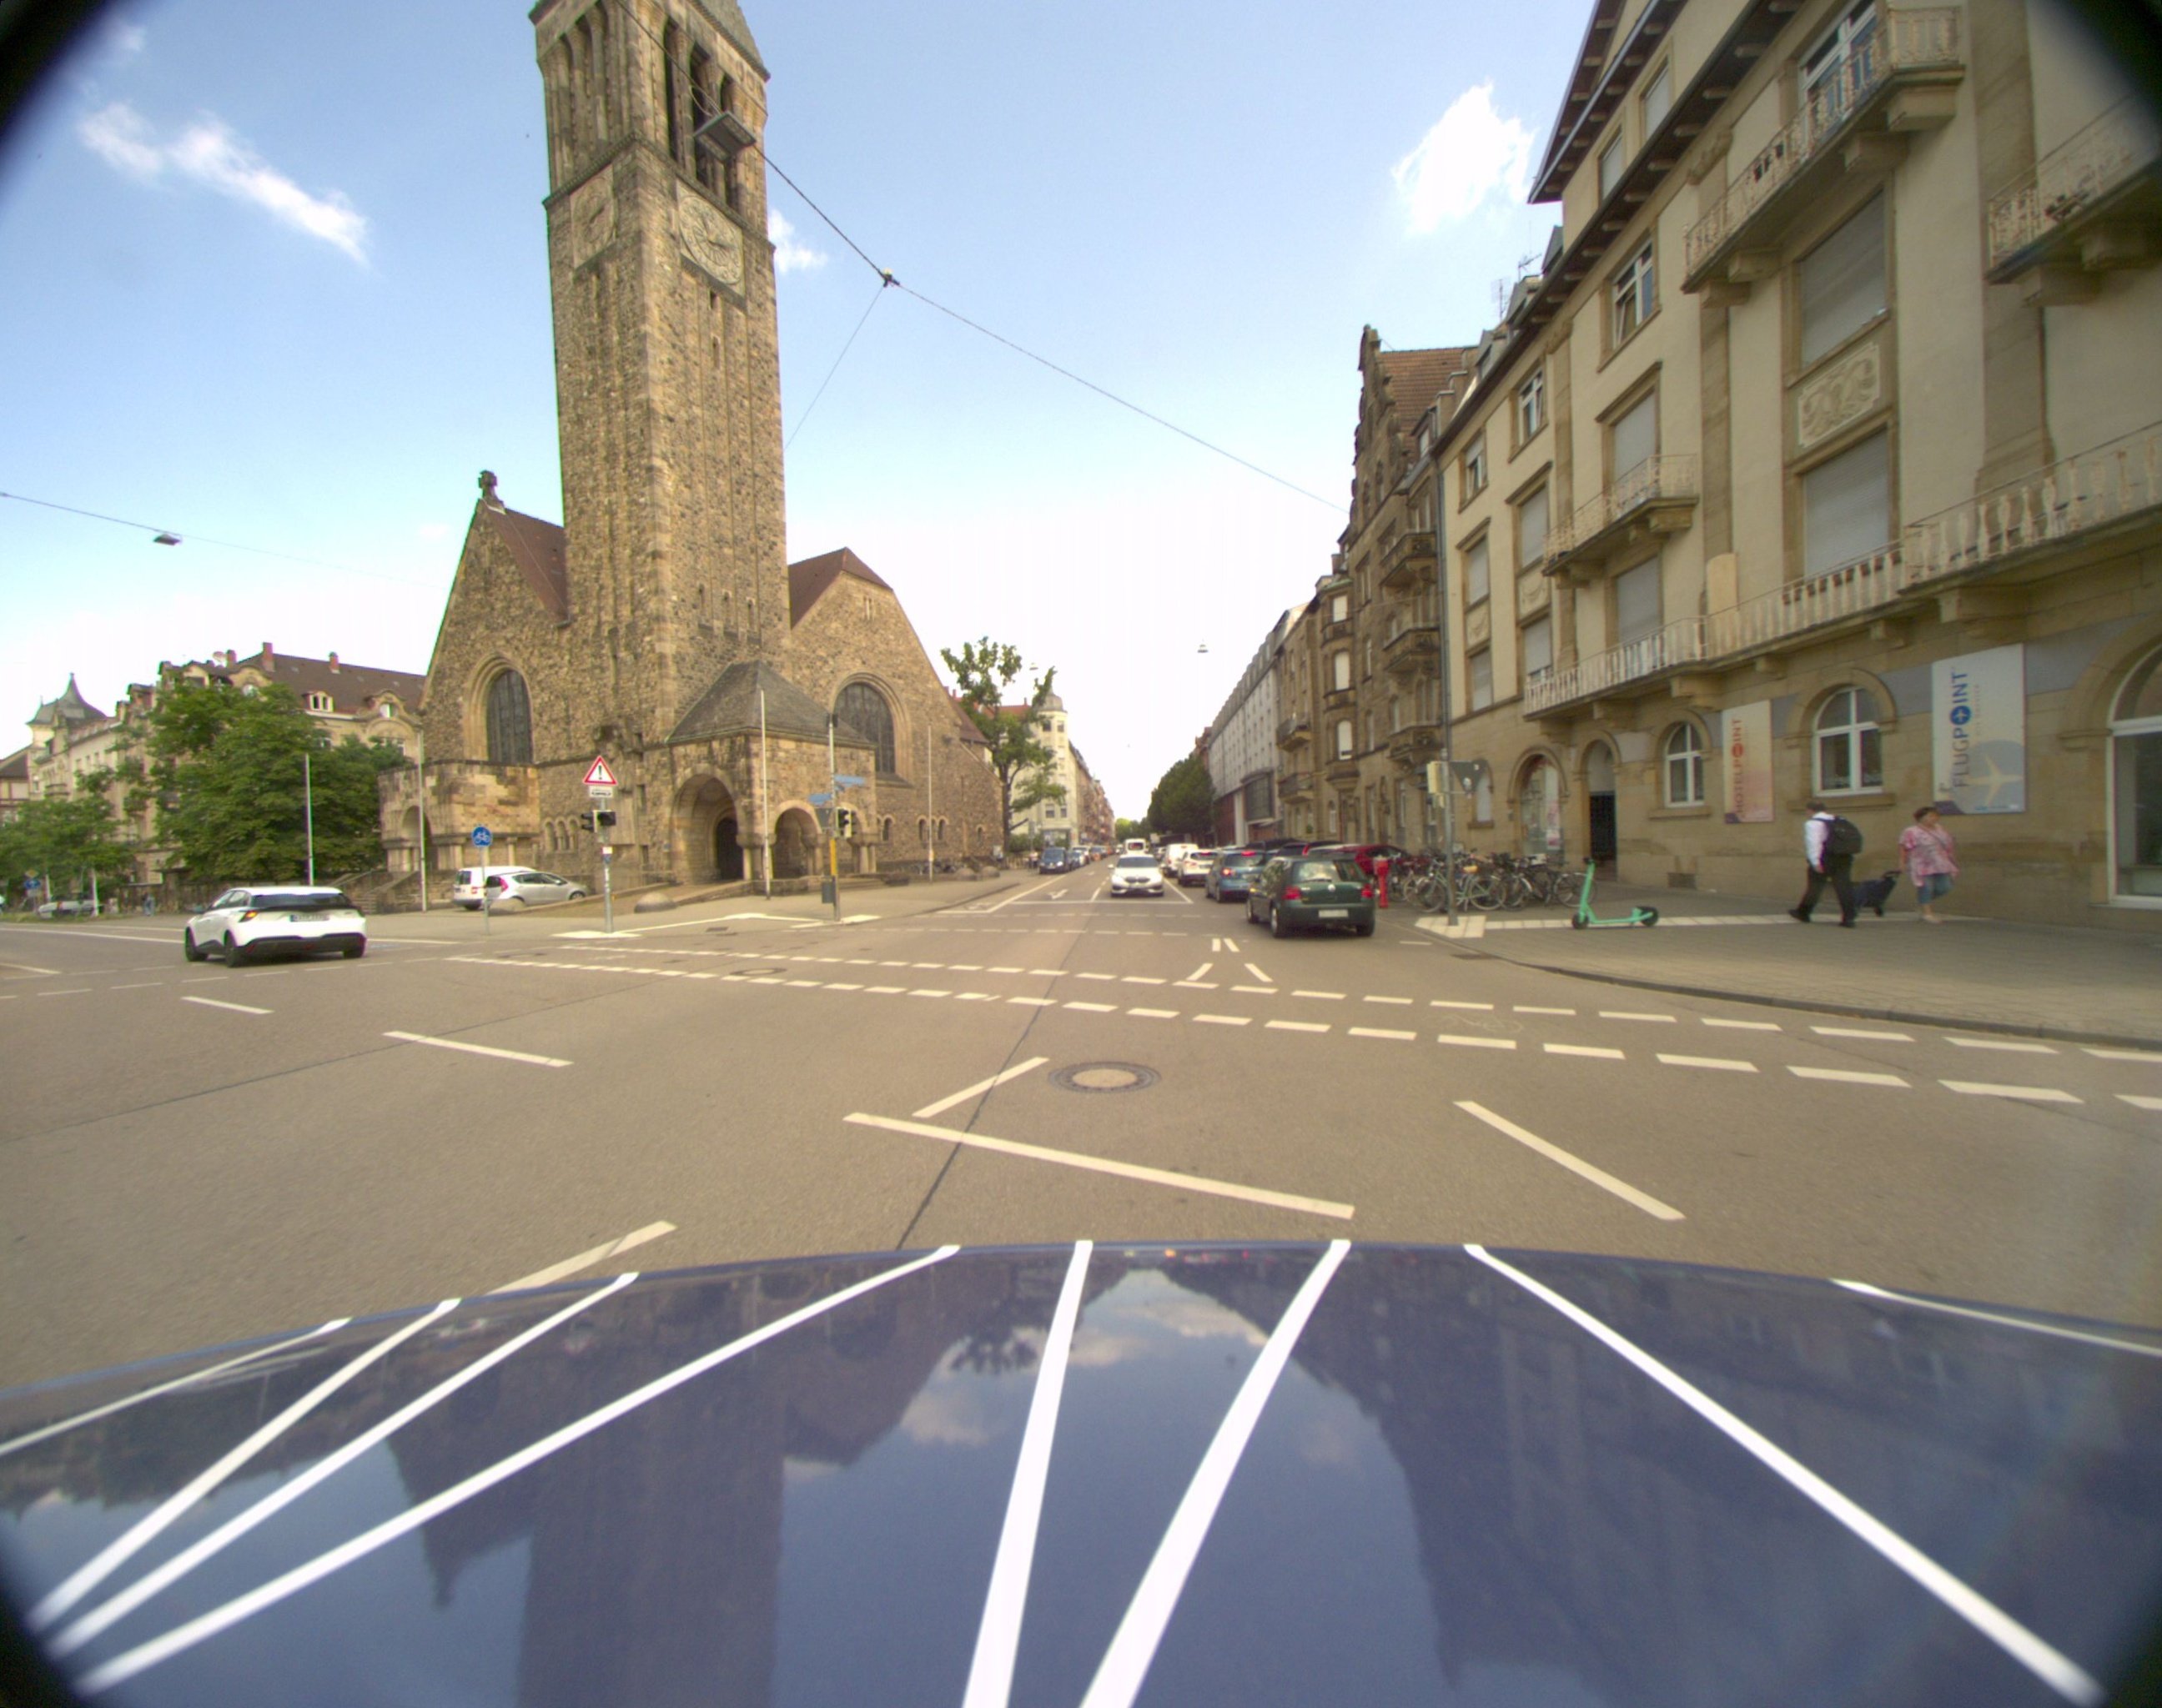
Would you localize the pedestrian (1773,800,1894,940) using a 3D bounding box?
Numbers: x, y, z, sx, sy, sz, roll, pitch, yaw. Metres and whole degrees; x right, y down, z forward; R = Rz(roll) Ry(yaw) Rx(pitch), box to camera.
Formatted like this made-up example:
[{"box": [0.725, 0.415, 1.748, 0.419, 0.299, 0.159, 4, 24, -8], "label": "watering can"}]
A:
[{"box": [10.526, 0.200, 10.670, 0.804, 1.850, 0.905, -3, 4, 4], "label": "pedestrian"}]

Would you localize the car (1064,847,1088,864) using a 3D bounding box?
[{"box": [-0.420, 0.130, 68.736, 1.682, 1.438, 3.799, -2, 1, 5], "label": "car"}]

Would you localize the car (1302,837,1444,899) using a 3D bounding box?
[{"box": [8.644, 0.401, 22.411, 4.005, 1.448, 1.808, -5, 0, -33], "label": "car"}]

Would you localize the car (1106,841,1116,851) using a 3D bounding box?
[{"box": [6.074, -1.620, 153.510, 1.809, 1.901, 4.187, -2, 1, 5], "label": "car"}]

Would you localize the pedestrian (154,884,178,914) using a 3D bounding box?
[{"box": [-50.884, 2.496, 42.241, 0.843, 1.655, 0.660, -2, 1, 31], "label": "pedestrian"}]

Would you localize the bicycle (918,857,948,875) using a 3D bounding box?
[{"box": [-9.526, 0.775, 48.947, 1.934, 1.106, 0.587, 1, 3, 25], "label": "bicycle"}]

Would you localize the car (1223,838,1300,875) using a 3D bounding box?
[{"box": [9.818, 0.141, 41.170, 3.960, 1.576, 1.727, -6, 2, -35], "label": "car"}]

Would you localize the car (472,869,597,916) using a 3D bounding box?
[{"box": [-22.239, 1.541, 31.063, 1.814, 1.668, 3.644, -3, -1, 26], "label": "car"}]

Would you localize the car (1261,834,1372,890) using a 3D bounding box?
[{"box": [8.835, 0.295, 28.396, 3.960, 1.679, 1.799, -5, 0, -35], "label": "car"}]

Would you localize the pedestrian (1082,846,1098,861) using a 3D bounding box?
[{"box": [1.039, -0.076, 89.052, 1.316, 1.747, 1.370, -3, 1, -38], "label": "pedestrian"}]

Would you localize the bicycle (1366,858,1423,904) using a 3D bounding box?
[{"box": [8.136, 0.683, 19.674, 1.815, 1.046, 0.556, -5, 1, -41], "label": "bicycle"}]

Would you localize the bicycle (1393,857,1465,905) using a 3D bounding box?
[{"box": [8.553, 0.659, 18.712, 1.483, 1.046, 0.462, -4, 1, 1], "label": "bicycle"}]

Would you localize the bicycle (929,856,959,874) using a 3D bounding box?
[{"box": [-8.950, 0.737, 49.773, 1.934, 1.106, 0.587, 1, 3, 25], "label": "bicycle"}]

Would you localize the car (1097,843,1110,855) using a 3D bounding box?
[{"box": [3.631, -0.822, 124.334, 1.809, 1.756, 4.187, -2, 1, 5], "label": "car"}]

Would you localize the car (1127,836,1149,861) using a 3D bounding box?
[{"box": [5.827, -0.507, 78.185, 2.081, 2.430, 5.947, -1, 0, 3], "label": "car"}]

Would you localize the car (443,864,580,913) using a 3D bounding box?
[{"box": [-24.851, 1.469, 33.321, 1.995, 1.842, 4.313, -3, -1, 28], "label": "car"}]

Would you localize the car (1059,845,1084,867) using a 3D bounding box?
[{"box": [-0.754, 0.144, 63.951, 1.682, 1.781, 4.001, -2, 1, 5], "label": "car"}]

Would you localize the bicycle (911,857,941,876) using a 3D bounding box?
[{"box": [-9.850, 0.801, 48.306, 1.934, 1.106, 0.587, 1, 3, 25], "label": "bicycle"}]

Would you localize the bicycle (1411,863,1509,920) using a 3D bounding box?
[{"box": [7.838, 0.783, 15.783, 1.733, 1.046, 0.532, -4, 1, 20], "label": "bicycle"}]

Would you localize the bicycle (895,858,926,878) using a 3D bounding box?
[{"box": [-10.514, 0.856, 46.874, 1.934, 1.106, 0.587, 1, 3, 25], "label": "bicycle"}]

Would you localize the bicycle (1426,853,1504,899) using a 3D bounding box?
[{"box": [9.745, 0.554, 19.301, 1.630, 1.046, 0.558, -4, 1, 3], "label": "bicycle"}]

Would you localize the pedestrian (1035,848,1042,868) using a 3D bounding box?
[{"box": [-3.165, 0.310, 56.421, 0.466, 1.447, 0.556, -2, 1, -1], "label": "pedestrian"}]

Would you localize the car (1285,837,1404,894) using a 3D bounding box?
[{"box": [8.835, 0.364, 25.334, 3.960, 1.448, 1.727, -6, 0, -37], "label": "car"}]

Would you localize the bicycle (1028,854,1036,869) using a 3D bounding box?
[{"box": [-3.654, 0.529, 56.507, 0.480, 1.046, 1.443, -2, 1, -1], "label": "bicycle"}]

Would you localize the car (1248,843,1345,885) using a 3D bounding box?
[{"box": [9.267, 0.409, 32.587, 3.960, 1.421, 1.728, -5, 0, -34], "label": "car"}]

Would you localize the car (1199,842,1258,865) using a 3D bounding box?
[{"box": [10.330, -0.031, 53.095, 3.961, 1.465, 1.727, -3, 1, -35], "label": "car"}]

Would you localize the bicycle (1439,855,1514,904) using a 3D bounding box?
[{"box": [9.450, 0.610, 18.188, 1.483, 1.046, 0.462, -4, 1, 1], "label": "bicycle"}]

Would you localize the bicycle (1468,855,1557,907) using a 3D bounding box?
[{"box": [9.533, 0.596, 16.813, 1.580, 1.046, 0.481, -4, 1, 12], "label": "bicycle"}]

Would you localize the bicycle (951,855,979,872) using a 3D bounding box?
[{"box": [-7.924, 0.654, 51.900, 1.934, 1.106, 0.587, 1, 3, 25], "label": "bicycle"}]

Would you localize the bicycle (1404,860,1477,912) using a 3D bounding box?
[{"box": [8.154, 0.723, 17.246, 1.372, 1.046, 0.418, -5, 1, 2], "label": "bicycle"}]

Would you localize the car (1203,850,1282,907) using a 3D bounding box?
[{"box": [4.846, 0.677, 23.260, 1.751, 1.531, 3.932, -2, 1, 3], "label": "car"}]

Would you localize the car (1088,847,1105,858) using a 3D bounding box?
[{"box": [1.971, -0.198, 96.617, 1.809, 1.360, 4.187, -2, 1, 5], "label": "car"}]

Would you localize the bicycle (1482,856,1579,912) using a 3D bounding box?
[{"box": [9.341, 0.616, 15.831, 1.611, 1.046, 0.481, -4, 1, 12], "label": "bicycle"}]

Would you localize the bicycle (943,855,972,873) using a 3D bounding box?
[{"box": [-8.314, 0.683, 51.196, 1.934, 1.106, 0.587, 1, 3, 25], "label": "bicycle"}]

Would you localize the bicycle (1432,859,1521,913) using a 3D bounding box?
[{"box": [8.507, 0.694, 16.382, 1.580, 1.046, 0.481, -4, 1, 12], "label": "bicycle"}]

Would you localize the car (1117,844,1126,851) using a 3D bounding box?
[{"box": [8.995, -1.437, 167.483, 1.809, 1.654, 4.187, -2, 1, 5], "label": "car"}]

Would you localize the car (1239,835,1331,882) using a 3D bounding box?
[{"box": [9.493, 0.208, 35.279, 3.959, 1.857, 1.727, -5, 1, -29], "label": "car"}]

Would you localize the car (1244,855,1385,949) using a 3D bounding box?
[{"box": [4.242, 0.801, 14.379, 1.717, 1.425, 3.818, -1, 1, 4], "label": "car"}]

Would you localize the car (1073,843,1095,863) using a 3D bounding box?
[{"box": [0.360, -0.108, 78.428, 1.843, 1.927, 4.187, -2, 1, 5], "label": "car"}]

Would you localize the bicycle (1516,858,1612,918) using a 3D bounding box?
[{"box": [9.324, 0.649, 14.708, 1.441, 1.046, 0.481, -4, 1, 14], "label": "bicycle"}]

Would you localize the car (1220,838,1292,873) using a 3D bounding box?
[{"box": [10.141, 0.063, 43.978, 3.959, 1.576, 1.727, -7, 1, -35], "label": "car"}]

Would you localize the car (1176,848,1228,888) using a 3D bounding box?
[{"box": [5.090, 0.554, 32.288, 1.774, 1.573, 4.021, 0, 0, 3], "label": "car"}]

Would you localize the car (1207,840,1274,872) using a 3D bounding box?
[{"box": [9.953, 0.101, 47.257, 3.960, 1.576, 1.727, -6, 0, -35], "label": "car"}]

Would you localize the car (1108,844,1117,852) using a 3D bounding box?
[{"box": [7.376, -1.393, 177.055, 1.809, 1.756, 4.187, -2, 1, 5], "label": "car"}]

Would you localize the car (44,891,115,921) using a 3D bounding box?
[{"box": [-55.748, 2.878, 42.279, 3.828, 1.487, 1.792, -2, 1, 29], "label": "car"}]

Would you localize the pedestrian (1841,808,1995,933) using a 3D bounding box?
[{"box": [11.684, 0.218, 10.659, 0.943, 1.586, 0.996, -6, 1, 5], "label": "pedestrian"}]

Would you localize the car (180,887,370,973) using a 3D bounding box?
[{"box": [-16.328, 1.455, 15.355, 4.120, 1.496, 1.824, -2, -2, 31], "label": "car"}]

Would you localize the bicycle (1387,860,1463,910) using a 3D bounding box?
[{"box": [7.999, 0.718, 17.679, 1.483, 1.046, 0.462, -4, 1, 4], "label": "bicycle"}]

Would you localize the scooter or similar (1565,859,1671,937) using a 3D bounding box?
[{"box": [8.504, 0.699, 12.079, 1.250, 1.139, 0.481, -4, 1, 22], "label": "scooter or similar"}]

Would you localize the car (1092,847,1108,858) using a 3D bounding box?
[{"box": [2.547, -0.179, 102.223, 1.809, 1.360, 4.187, -2, 1, 5], "label": "car"}]

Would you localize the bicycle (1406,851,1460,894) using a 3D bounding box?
[{"box": [9.829, 0.503, 21.198, 1.908, 1.046, 0.556, -5, 1, -40], "label": "bicycle"}]

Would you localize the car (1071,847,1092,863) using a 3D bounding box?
[{"box": [0.060, 0.057, 73.818, 1.682, 1.488, 3.891, -2, 1, 5], "label": "car"}]

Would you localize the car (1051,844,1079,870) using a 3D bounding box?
[{"box": [-1.182, 0.193, 57.750, 1.682, 1.781, 4.001, -2, 1, 5], "label": "car"}]

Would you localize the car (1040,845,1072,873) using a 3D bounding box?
[{"box": [-1.678, 0.329, 52.517, 1.682, 1.781, 4.146, -2, 1, 5], "label": "car"}]

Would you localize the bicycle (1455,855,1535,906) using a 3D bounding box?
[{"box": [9.527, 0.607, 17.511, 1.483, 1.046, 0.462, -4, 1, 5], "label": "bicycle"}]

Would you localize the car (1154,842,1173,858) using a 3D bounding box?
[{"box": [8.943, -0.415, 82.836, 1.890, 1.642, 3.891, -2, 1, 5], "label": "car"}]

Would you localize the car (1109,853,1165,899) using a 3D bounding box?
[{"box": [2.053, 0.727, 27.174, 1.826, 1.440, 4.387, -1, 1, 5], "label": "car"}]

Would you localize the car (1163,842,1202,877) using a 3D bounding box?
[{"box": [5.534, 0.289, 41.807, 1.816, 1.765, 4.284, -1, 0, 3], "label": "car"}]
